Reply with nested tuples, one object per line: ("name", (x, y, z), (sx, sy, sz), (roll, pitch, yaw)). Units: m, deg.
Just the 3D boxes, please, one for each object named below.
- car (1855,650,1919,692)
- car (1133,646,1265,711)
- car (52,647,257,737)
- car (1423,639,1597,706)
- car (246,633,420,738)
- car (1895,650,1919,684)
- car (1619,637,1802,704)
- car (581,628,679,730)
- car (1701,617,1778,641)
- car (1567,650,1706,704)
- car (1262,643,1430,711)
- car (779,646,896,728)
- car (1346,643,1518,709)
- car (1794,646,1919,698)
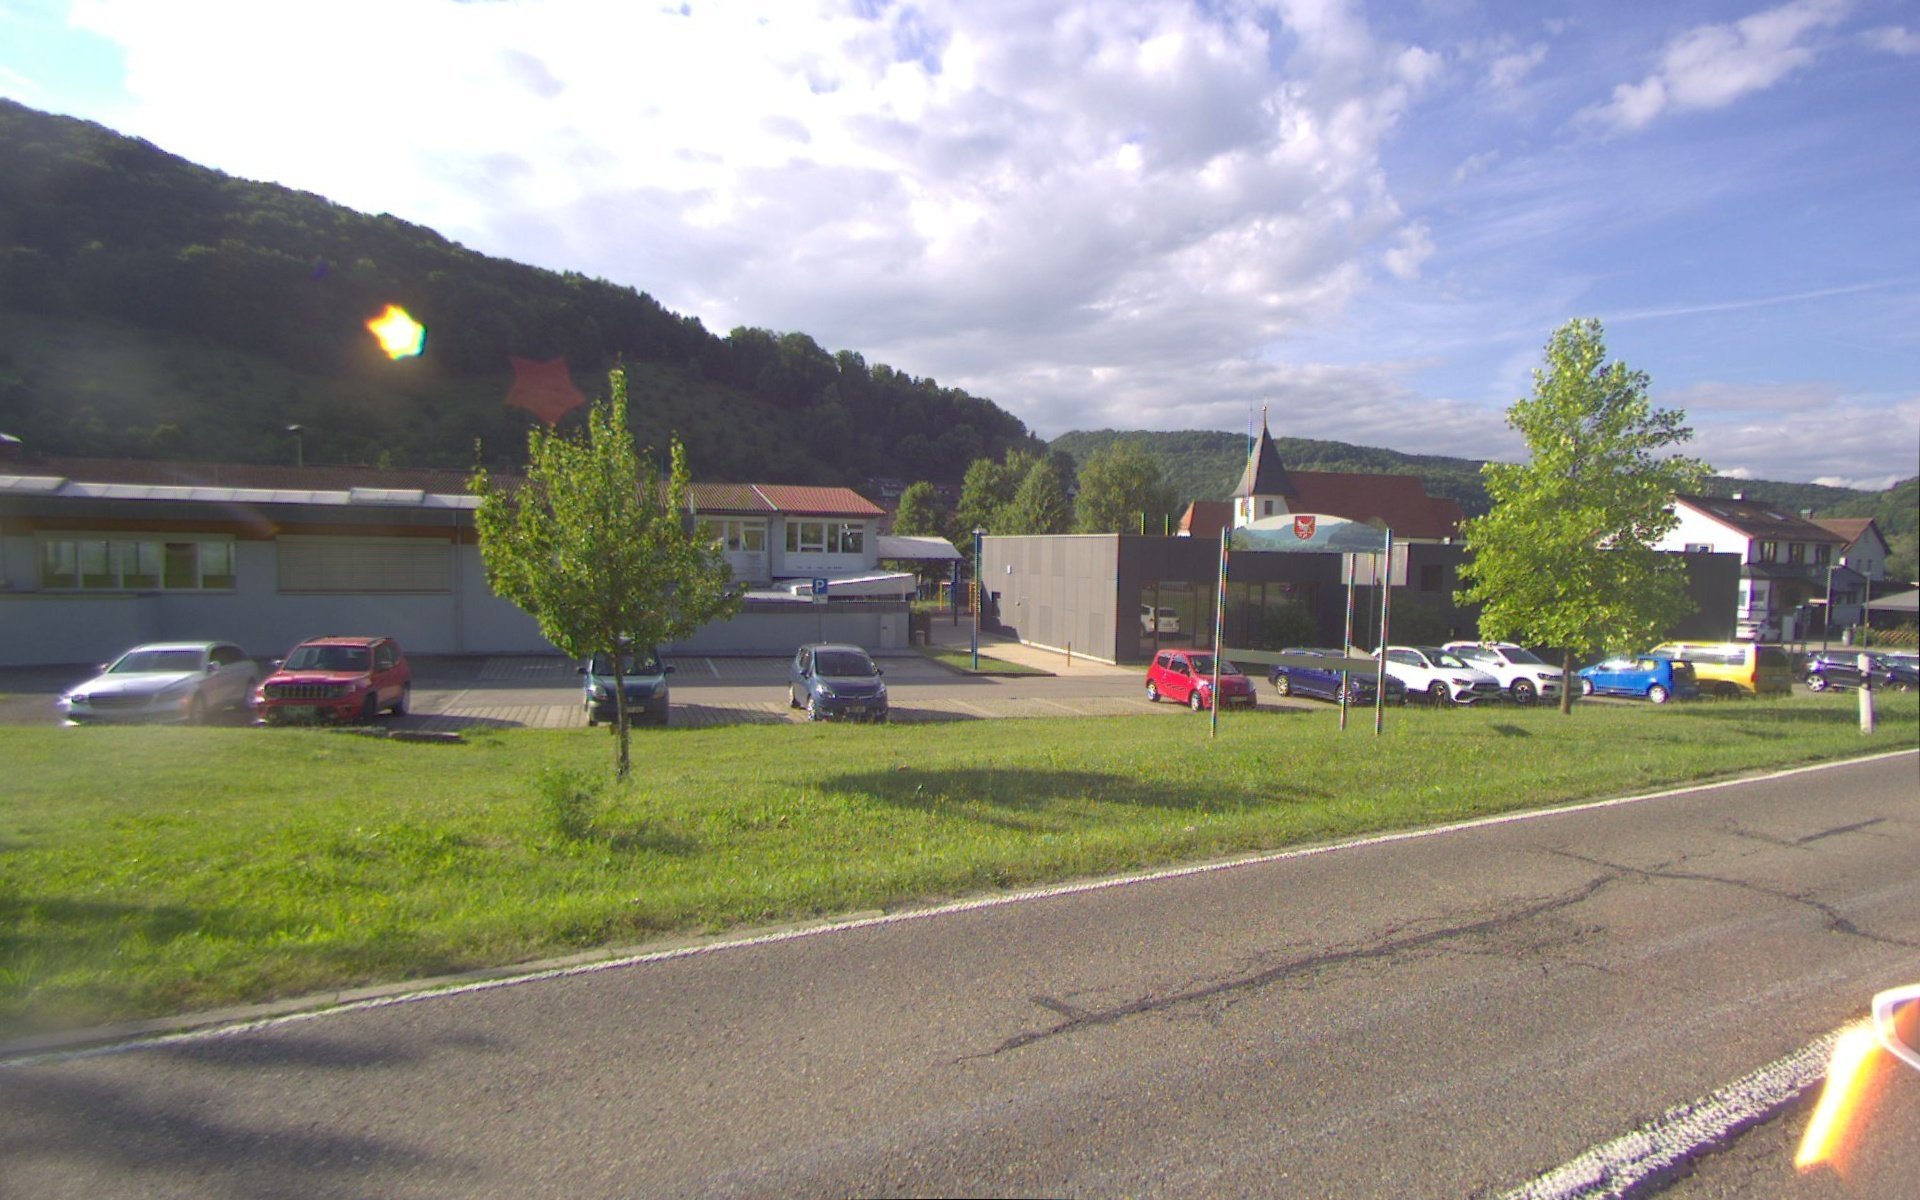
("car", (38.265, 2.830, 39.097), (1.853, 1.513, 4.805), (2, 0, -21))
("car", (6.276, 2.052, 26.780), (1.592, 1.416, 3.714), (2, 0, -21))
("car", (-15.142, 1.683, 19.157), (1.825, 1.386, 3.881), (2, -1, -20))
("car", (16.988, 2.193, 31.310), (1.970, 1.725, 4.531), (2, 0, -21))
("car", (-12.298, 1.600, 20.021), (1.818, 1.691, 4.319), (2, 0, -17))
("car", (40.528, 2.795, 40.346), (1.737, 1.327, 3.975), (2, 0, -25))
("car", (25.004, 2.317, 33.700), (1.968, 1.893, 4.608), (2, 0, -17))
("car", (-7.442, 1.644, 22.336), (1.661, 1.817, 4.980), (2, 0, -23))
("car", (51.605, 1.928, 66.532), (3.927, 1.461, 1.767), (2, 0, -9))
("car", (22.329, 2.507, 33.286), (1.610, 1.492, 3.485), (2, 0, -23))
("car", (10.936, 2.139, 28.822), (1.970, 1.575, 4.531), (2, 0, -21))
("car", (-2.911, 1.917, 23.133), (1.660, 1.471, 3.998), (-1, 1, -23))
("car", (13.935, 2.205, 29.974), (1.970, 1.575, 4.531), (2, 0, -21))
("car", (34.103, 2.652, 37.584), (1.970, 1.659, 4.018), (2, 0, -21))
